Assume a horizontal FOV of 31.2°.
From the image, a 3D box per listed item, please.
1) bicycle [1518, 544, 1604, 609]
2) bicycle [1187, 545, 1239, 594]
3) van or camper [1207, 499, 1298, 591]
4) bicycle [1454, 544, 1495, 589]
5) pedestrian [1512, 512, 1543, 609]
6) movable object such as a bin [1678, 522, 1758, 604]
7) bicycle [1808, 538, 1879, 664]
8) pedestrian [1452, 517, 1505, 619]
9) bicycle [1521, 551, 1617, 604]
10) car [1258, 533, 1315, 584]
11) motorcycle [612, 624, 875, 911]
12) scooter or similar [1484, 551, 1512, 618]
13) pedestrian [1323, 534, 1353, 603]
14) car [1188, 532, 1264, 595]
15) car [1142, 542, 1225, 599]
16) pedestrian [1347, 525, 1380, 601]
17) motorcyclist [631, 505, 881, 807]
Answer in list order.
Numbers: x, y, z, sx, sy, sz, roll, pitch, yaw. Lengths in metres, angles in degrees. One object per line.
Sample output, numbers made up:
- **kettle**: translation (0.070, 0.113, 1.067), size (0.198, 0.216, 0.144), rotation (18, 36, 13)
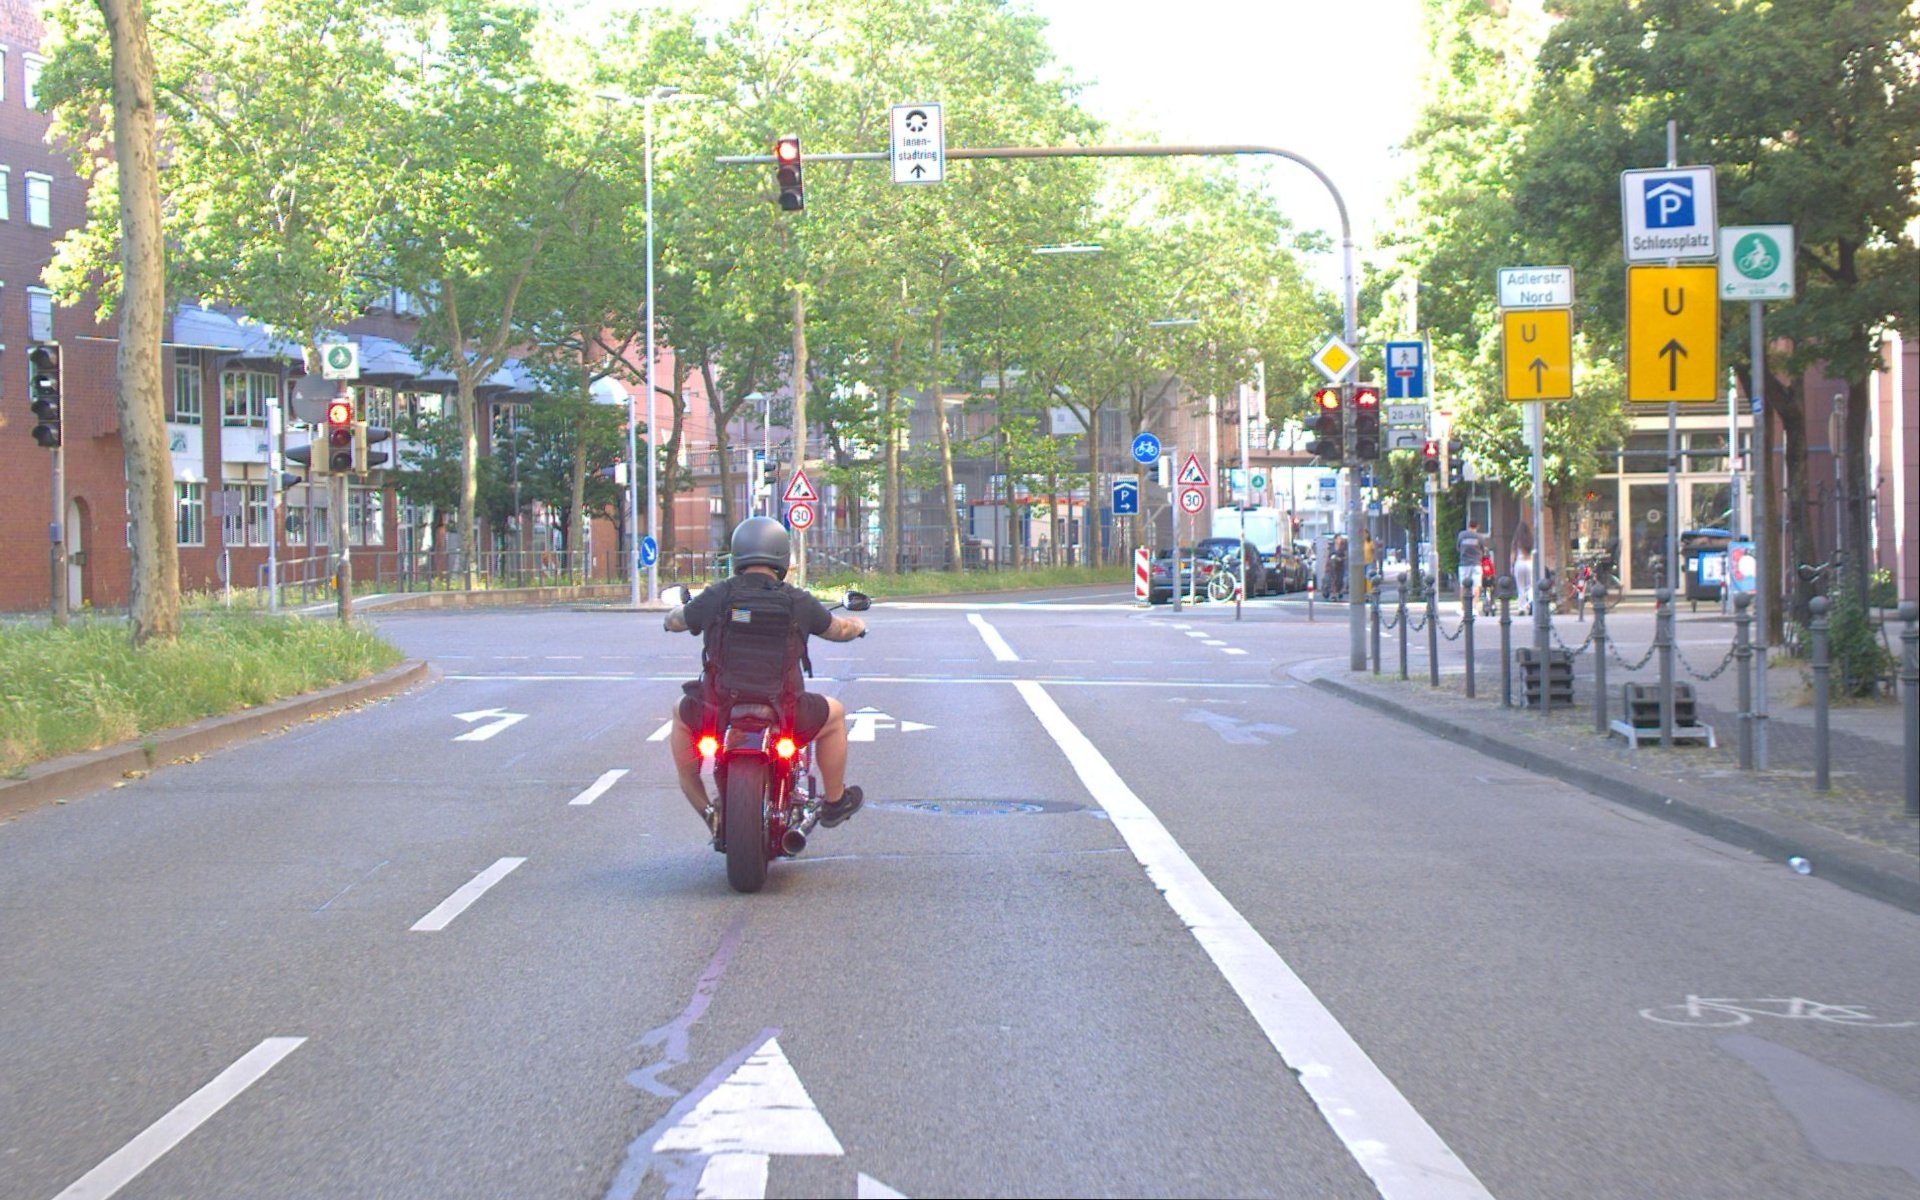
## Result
- **bicycle**: translation (11.510, -0.448, 65.868), size (1.567, 1.223, 0.577), rotation (-1, 1, 6)
- **bicycle**: translation (5.506, -0.671, 75.027), size (0.737, 1.049, 1.753), rotation (-1, 1, -9)
- **van or camper**: translation (8.388, -1.580, 98.139), size (2.049, 2.532, 5.771), rotation (-1, 1, 10)
- **bicycle**: translation (11.097, -0.730, 74.198), size (0.737, 0.936, 1.752), rotation (-1, 1, 4)
- **pedestrian**: translation (9.892, -0.688, 59.917), size (0.459, 1.667, 0.680), rotation (-1, 1, 5)
- **movable object such as a bin**: translation (13.898, -0.684, 63.073), size (1.410, 1.477, 0.871), rotation (-1, 1, 12)
- **bicycle**: translation (8.901, -0.005, 34.676), size (0.622, 1.221, 1.926), rotation (0, 1, 12)
- **pedestrian**: translation (9.027, -0.557, 59.857), size (0.785, 1.757, 0.610), rotation (-1, 1, -3)
- **bicycle**: translation (12.225, -0.451, 68.985), size (1.749, 1.049, 0.738), rotation (0, 1, 28)
- **car**: translation (10.572, -1.364, 111.177), size (1.621, 1.604, 3.773), rotation (-1, 1, 8)
- **motorcycle**: translation (-0.900, 0.686, 14.909), size (1.018, 1.093, 2.008), rotation (0, 1, 0)
- **scooter or similar**: translation (9.387, -0.277, 59.964), size (0.394, 1.154, 1.249), rotation (-1, 1, 6)
- **pedestrian**: translation (8.720, -0.730, 79.361), size (0.644, 1.573, 0.748), rotation (-1, 1, 4)
- **car**: translation (7.100, -0.995, 91.584), size (1.621, 1.614, 4.483), rotation (-1, 1, 9)
- **car**: translation (5.353, -0.720, 81.934), size (1.621, 1.298, 4.310), rotation (-1, 1, 9)
- **pedestrian**: translation (9.283, -0.850, 79.088), size (0.700, 1.727, 0.767), rotation (-1, 1, 4)
- **motorcyclist**: translation (-0.876, 0.229, 14.969), size (1.011, 1.258, 0.774), rotation (1, 1, 0)
